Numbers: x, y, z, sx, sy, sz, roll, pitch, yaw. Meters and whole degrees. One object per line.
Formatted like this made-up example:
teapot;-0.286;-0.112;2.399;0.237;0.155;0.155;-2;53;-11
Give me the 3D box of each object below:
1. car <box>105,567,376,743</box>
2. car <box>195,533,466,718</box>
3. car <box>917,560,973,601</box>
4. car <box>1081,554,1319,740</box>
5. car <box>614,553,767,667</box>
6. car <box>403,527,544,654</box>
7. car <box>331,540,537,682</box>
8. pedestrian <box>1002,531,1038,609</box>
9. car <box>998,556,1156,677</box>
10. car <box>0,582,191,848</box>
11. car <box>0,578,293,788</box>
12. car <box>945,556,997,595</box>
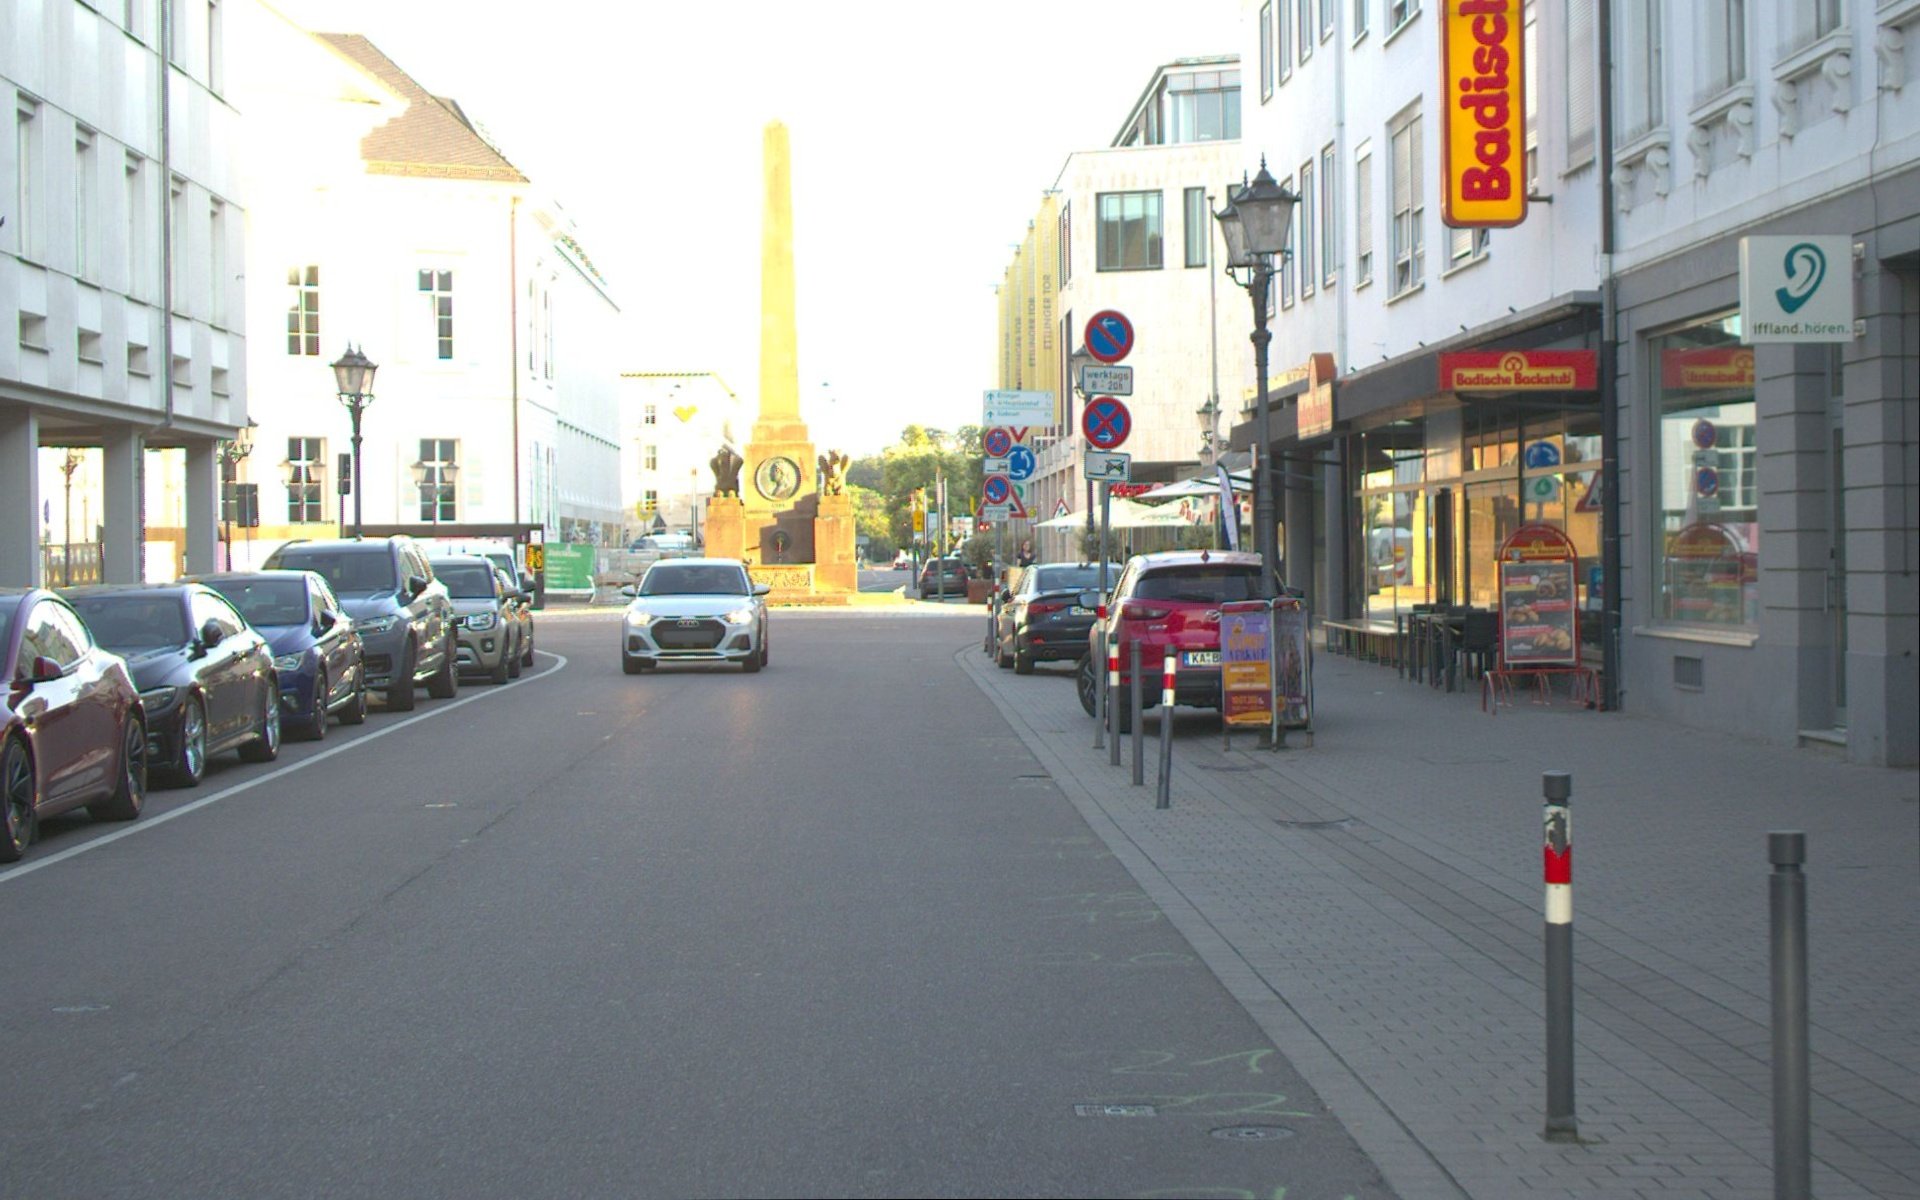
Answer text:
car;-6.276;0.434;30.366;1.673;1.395;4.000;-1;1;-2
car;-6.422;0.215;35.559;1.993;1.722;4.516;-2;1;-1
car;-0.532;-0.734;125.741;1.993;1.459;4.000;-1;1;0
car;2.050;0.366;30.253;1.759;1.518;3.677;0;1;-1
car;-3.488;0.102;45.078;1.764;1.417;4.000;0;1;-1
car;-7.351;-0.173;51.835;1.993;1.809;4.785;0;1;-8
car;-6.451;0.101;42.528;1.993;1.656;4.000;0;1;-1
pedestrian;1.271;-0.645;73.033;0.690;1.642;0.696;-1;1;-2
car;1.454;0.177;44.095;1.801;1.459;4.117;0;1;-1
car;-5.981;0.627;20.737;1.785;1.404;4.088;-1;1;-1
car;-6.171;0.540;24.809;1.993;1.349;4.000;0;1;-1
car;0.433;-0.956;134.225;1.993;1.459;4.000;-1;1;0
